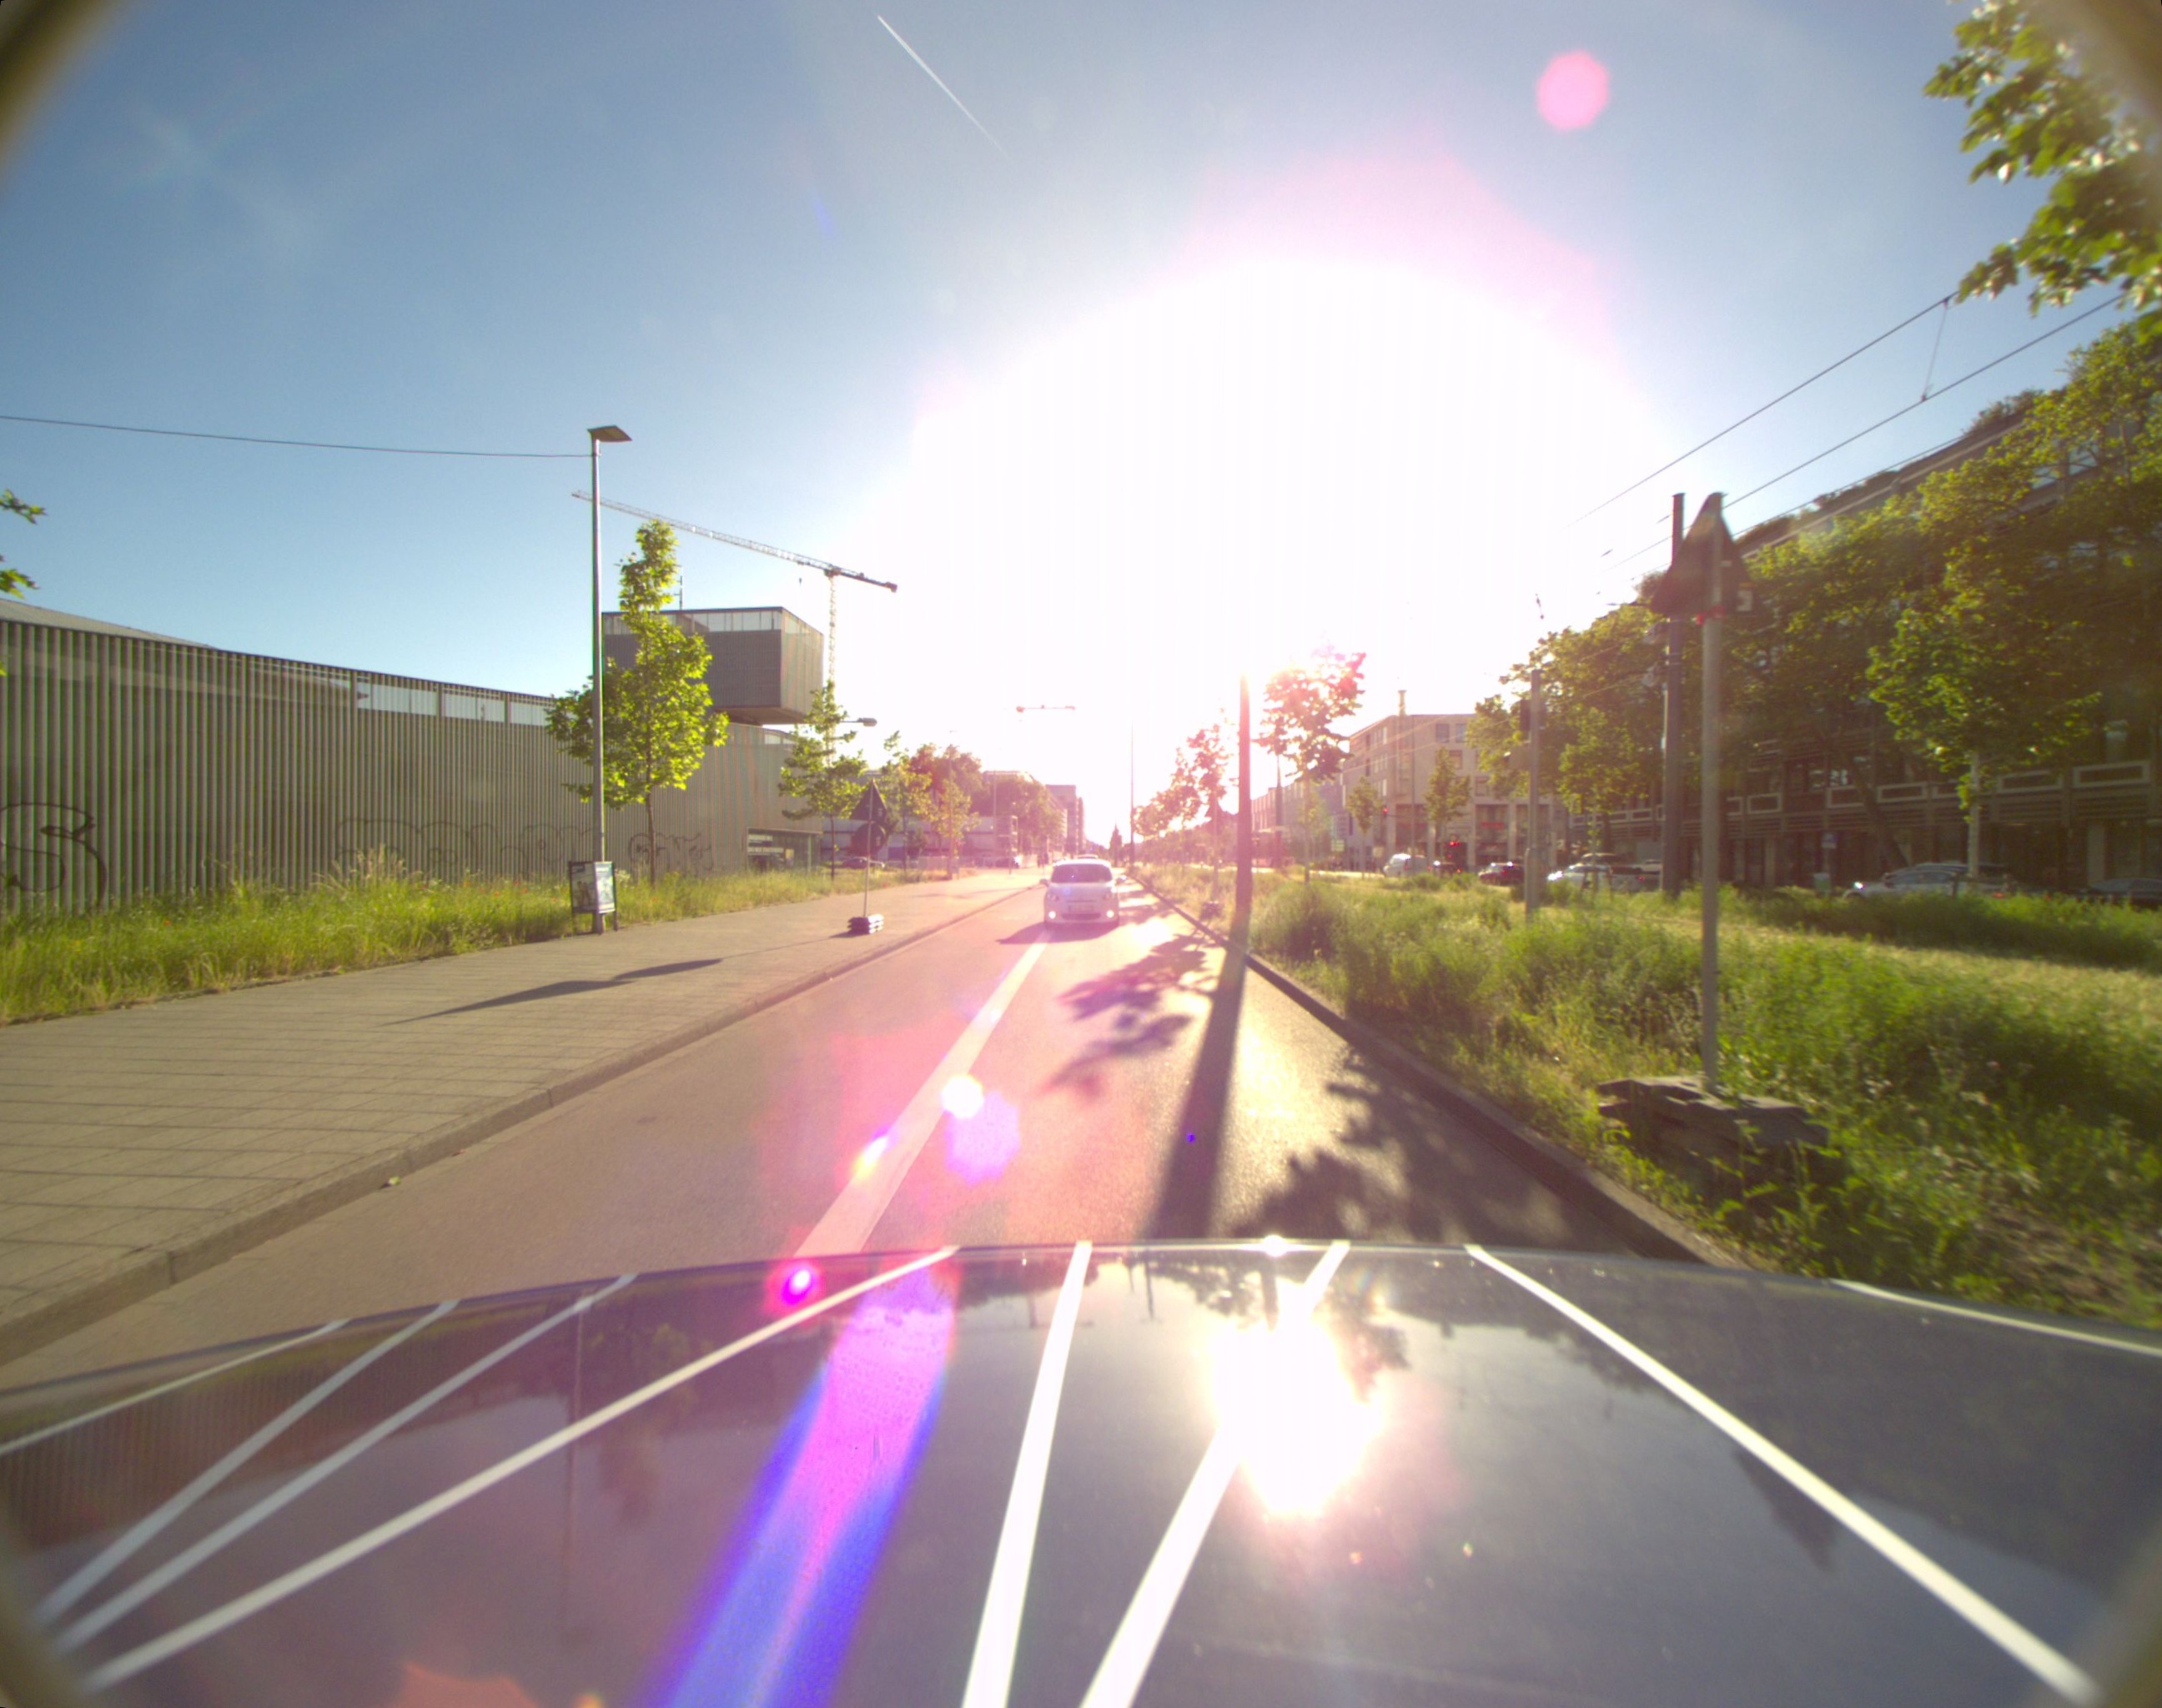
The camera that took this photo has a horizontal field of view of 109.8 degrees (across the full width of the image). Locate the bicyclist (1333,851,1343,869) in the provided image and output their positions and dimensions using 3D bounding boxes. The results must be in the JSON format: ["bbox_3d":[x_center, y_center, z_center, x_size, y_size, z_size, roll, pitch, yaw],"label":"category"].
[{"bbox_3d":[24.786,0.575,73.335,0.785,1.659,0.702,0,0,6],"label":"bicyclist"}]

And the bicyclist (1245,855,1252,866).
[{"bbox_3d":[22.375,0.872,101.497,0.940,1.536,0.649,0,0,5],"label":"bicyclist"}]

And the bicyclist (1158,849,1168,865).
[{"bbox_3d":[8.135,0.308,75.242,0.894,1.566,0.625,0,0,-5],"label":"bicyclist"}]

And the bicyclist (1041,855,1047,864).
[{"bbox_3d":[-5.580,0.848,114.364,0.805,1.290,0.776,-1,1,0],"label":"bicyclist"}]

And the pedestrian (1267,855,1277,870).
[{"bbox_3d":[26.013,1.134,103.633,0.948,2.111,0.896,0,1,-27],"label":"pedestrian"}]

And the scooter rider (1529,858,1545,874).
[{"bbox_3d":[44.893,1.174,74.806,1.116,1.535,0.644,0,1,5],"label":"scooter rider"}]

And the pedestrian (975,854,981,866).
[{"bbox_3d":[-15.014,0.867,110.738,0.653,1.670,0.841,0,0,8],"label":"pedestrian"}]

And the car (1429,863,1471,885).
[{"bbox_3d":[28.346,1.513,58.456,1.843,1.477,3.884,3,0,11],"label":"car"}]

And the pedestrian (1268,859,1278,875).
[{"bbox_3d":[25.926,1.709,102.511,0.949,2.111,0.896,0,1,-38],"label":"pedestrian"}]

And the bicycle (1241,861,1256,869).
[{"bbox_3d":[22.384,1.479,101.494,1.976,0.991,0.649,0,0,5],"label":"bicycle"}]

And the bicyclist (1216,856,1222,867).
[{"bbox_3d":[18.510,1.038,101.920,0.842,1.394,0.806,-1,1,8],"label":"bicyclist"}]

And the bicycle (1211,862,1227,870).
[{"bbox_3d":[18.554,1.593,101.908,2.074,0.973,0.806,-1,0,7],"label":"bicycle"}]

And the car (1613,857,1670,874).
[{"bbox_3d":[61.329,1.251,83.225,4.544,1.703,2.126,1,2,11],"label":"car"}]

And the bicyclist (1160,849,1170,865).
[{"bbox_3d":[8.232,0.329,74.482,0.847,1.534,0.652,0,0,-6],"label":"bicyclist"}]

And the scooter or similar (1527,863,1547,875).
[{"bbox_3d":[44.895,1.508,74.809,1.482,1.169,0.644,0,1,5],"label":"scooter or similar"}]

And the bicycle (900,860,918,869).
[{"bbox_3d":[-18.734,1.145,82.749,1.910,0.903,0.624,0,1,-4],"label":"bicycle"}]

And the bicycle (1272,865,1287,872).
[{"bbox_3d":[27.380,1.944,104.739,2.073,0.922,0.806,-1,0,15],"label":"bicycle"}]

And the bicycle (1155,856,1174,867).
[{"bbox_3d":[8.194,0.771,74.476,1.800,1.087,0.652,0,0,-6],"label":"bicycle"}]

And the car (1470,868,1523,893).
[{"bbox_3d":[27.291,1.730,50.040,1.714,1.444,3.577,3,0,5],"label":"car"}]

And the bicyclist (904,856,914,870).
[{"bbox_3d":[-18.743,0.953,82.748,0.937,1.495,0.624,0,1,-4],"label":"bicyclist"}]

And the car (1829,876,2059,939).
[{"bbox_3d":[25.567,1.525,22.824,1.762,1.507,4.583,1,0,2],"label":"car"}]

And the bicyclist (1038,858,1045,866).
[{"bbox_3d":[-5.831,1.160,111.814,0.636,1.263,0.807,0,1,24],"label":"bicyclist"}]

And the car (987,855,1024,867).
[{"bbox_3d":[-9.518,0.890,95.572,4.289,1.571,1.945,0,0,6],"label":"car"}]

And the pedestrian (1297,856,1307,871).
[{"bbox_3d":[30.039,1.262,103.262,1.025,2.002,0.915,0,1,-33],"label":"pedestrian"}]

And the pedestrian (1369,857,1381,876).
[{"bbox_3d":[26.581,1.119,68.604,0.739,1.734,0.858,-1,0,0],"label":"pedestrian"}]

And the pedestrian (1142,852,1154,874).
[{"bbox_3d":[5.909,0.793,66.674,1.049,1.900,1.015,0,1,6],"label":"pedestrian"}]

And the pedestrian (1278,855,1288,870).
[{"bbox_3d":[27.582,1.166,103.509,0.948,2.111,0.896,0,1,-32],"label":"pedestrian"}]

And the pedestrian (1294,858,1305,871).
[{"bbox_3d":[29.076,1.422,101.287,0.950,1.641,1.005,0,1,-37],"label":"pedestrian"}]

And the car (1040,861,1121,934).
[{"bbox_3d":[0.098,0.928,17.844,1.659,1.463,3.970,0,0,3],"label":"car"}]

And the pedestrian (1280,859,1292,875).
[{"bbox_3d":[27.511,1.719,101.823,1.100,2.116,1.060,0,1,-33],"label":"pedestrian"}]

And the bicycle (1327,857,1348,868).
[{"bbox_3d":[24.787,0.828,73.347,1.798,1.087,0.709,0,0,6],"label":"bicycle"}]

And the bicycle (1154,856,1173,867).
[{"bbox_3d":[8.178,0.769,75.240,1.815,1.110,0.625,0,0,-5],"label":"bicycle"}]

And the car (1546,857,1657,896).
[{"bbox_3d":[23.220,0.963,34.149,1.844,1.585,4.693,0,0,2],"label":"car"}]

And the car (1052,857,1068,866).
[{"bbox_3d":[-3.193,1.116,116.489,1.998,1.368,4.001,-1,0,3],"label":"car"}]

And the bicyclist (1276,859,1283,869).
[{"bbox_3d":[27.369,1.418,104.737,0.840,1.349,0.806,-1,1,16],"label":"bicyclist"}]

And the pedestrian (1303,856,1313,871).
[{"bbox_3d":[31.090,1.305,103.984,1.025,2.002,0.915,0,1,-32],"label":"pedestrian"}]

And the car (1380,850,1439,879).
[{"bbox_3d":[24.839,0.734,57.755,2.264,2.002,5.711,2,0,4],"label":"car"}]

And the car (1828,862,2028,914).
[{"bbox_3d":[31.040,1.178,28.134,1.999,1.670,4.868,-1,0,0],"label":"car"}]

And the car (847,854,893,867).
[{"bbox_3d":[-23.515,0.701,84.729,4.519,1.344,1.778,0,1,8],"label":"car"}]

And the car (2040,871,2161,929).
[{"bbox_3d":[30.579,1.285,21.498,1.998,1.512,4.002,0,0,5],"label":"car"}]
